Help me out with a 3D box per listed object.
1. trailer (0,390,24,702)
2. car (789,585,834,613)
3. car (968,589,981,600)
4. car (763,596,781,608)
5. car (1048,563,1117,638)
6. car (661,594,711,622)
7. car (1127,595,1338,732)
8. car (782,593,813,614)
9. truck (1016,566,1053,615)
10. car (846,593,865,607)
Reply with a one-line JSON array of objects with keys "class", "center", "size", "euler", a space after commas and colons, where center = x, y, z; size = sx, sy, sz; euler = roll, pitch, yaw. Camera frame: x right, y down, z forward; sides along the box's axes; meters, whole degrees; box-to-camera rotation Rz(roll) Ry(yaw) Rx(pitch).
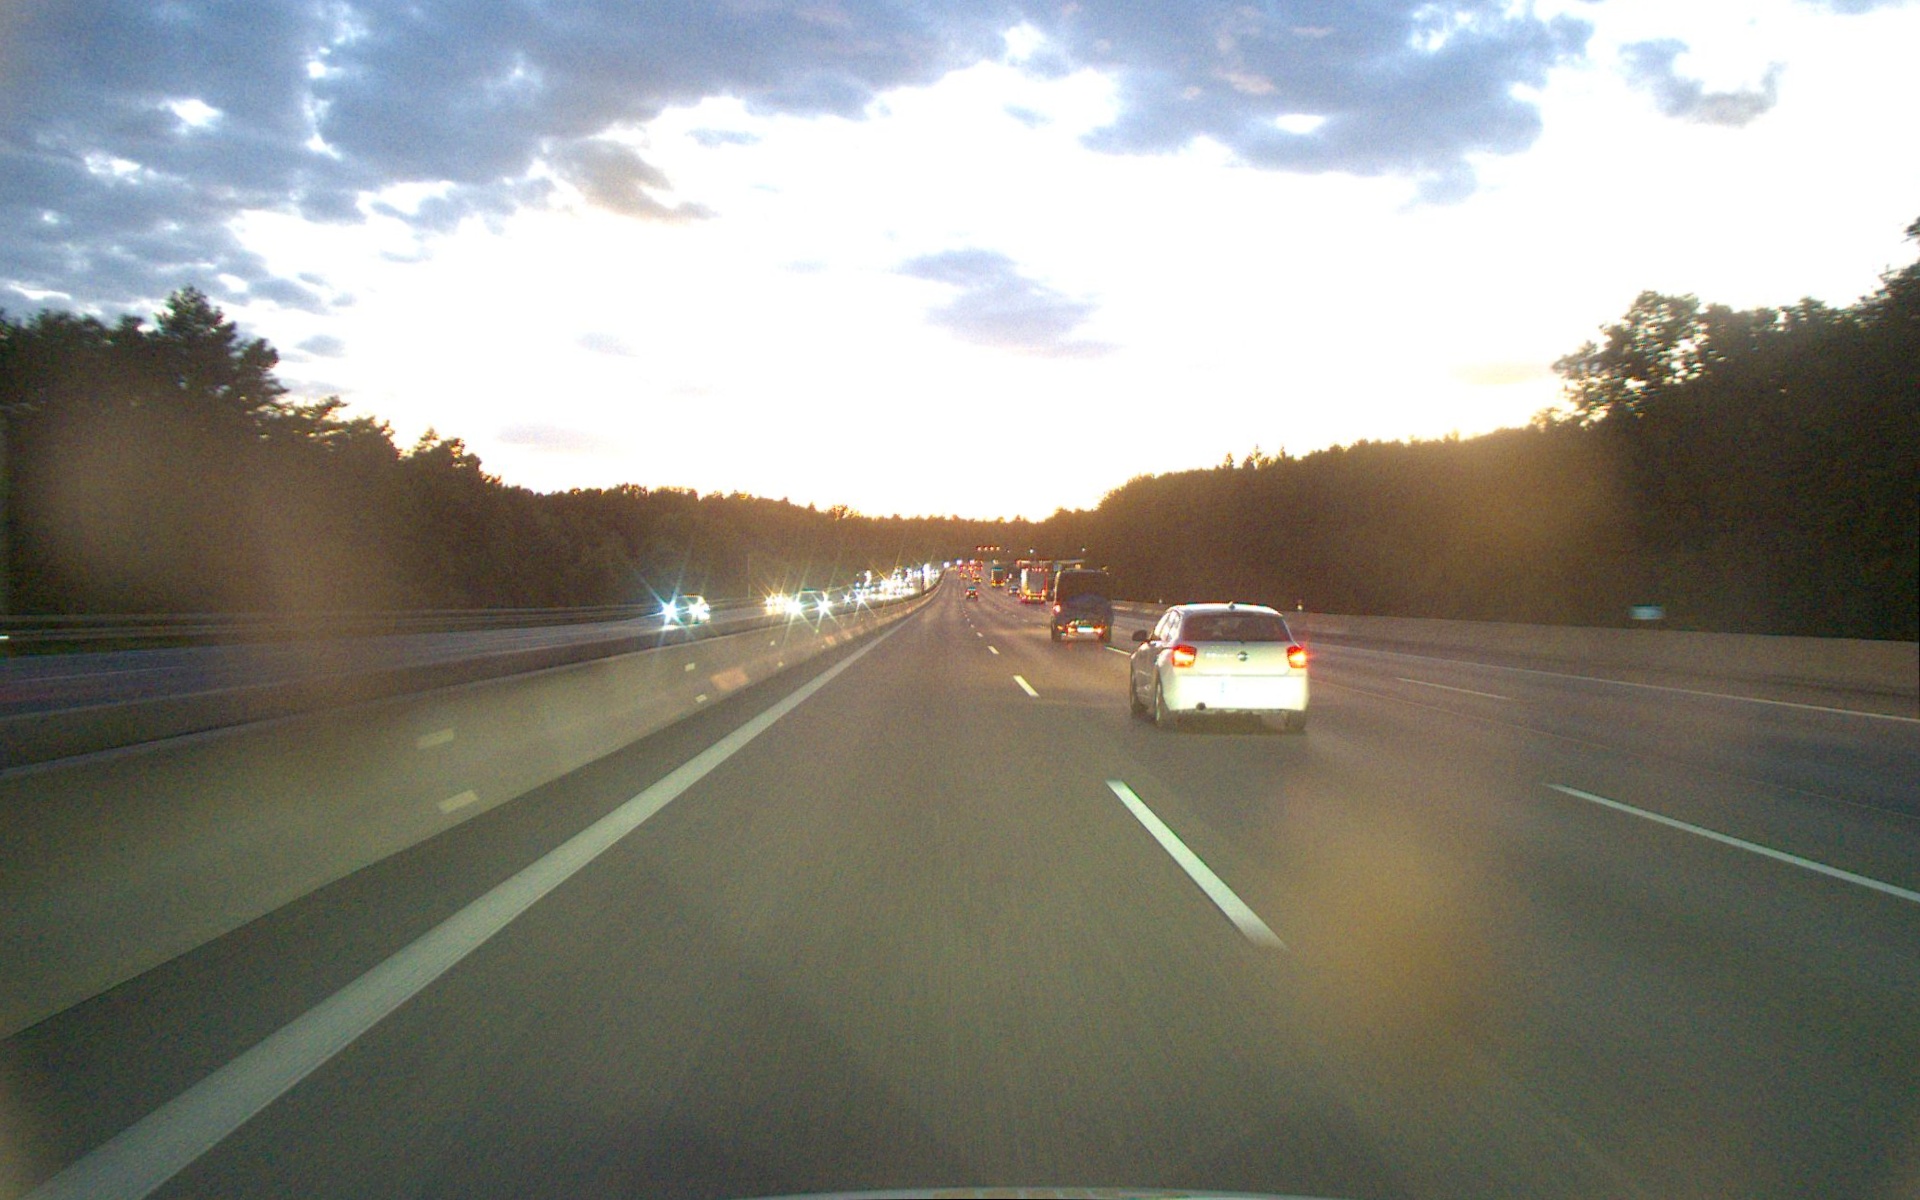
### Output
[{"class": "trailer", "center": [-14.038, -0.705, 15.685], "size": [2.596, 4.204, 14.321], "euler": [0, 0, -2]}, {"class": "car", "center": [-7.886, -0.080, 88.065], "size": [1.953, 1.449, 5.145], "euler": [0, 0, 0]}, {"class": "car", "center": [2.060, -0.783, 231.092], "size": [1.798, 1.598, 4.001], "euler": [0, 0, 2]}, {"class": "car", "center": [-23.024, 0.205, 202.376], "size": [1.799, 1.463, 3.999], "euler": [0, 0, -1]}, {"class": "car", "center": [4.142, 0.009, 56.751], "size": [2.121, 2.461, 5.565], "euler": [0, 0, 2]}, {"class": "car", "center": [-14.658, 0.393, 88.823], "size": [1.873, 1.449, 4.747], "euler": [0, 0, 0]}, {"class": "car", "center": [3.181, 0.695, 20.028], "size": [1.822, 1.467, 3.719], "euler": [1, 0, -2]}, {"class": "car", "center": [-11.624, 0.223, 118.442], "size": [1.811, 1.438, 4.790], "euler": [0, 0, -1]}, {"class": "truck", "center": [9.288, -1.141, 207.395], "size": [4.064, 5.958, 14.296], "euler": [0, 0, 0]}, {"class": "car", "center": [-11.323, -0.018, 179.654], "size": [1.799, 1.463, 4.000], "euler": [0, 0, 0]}]
